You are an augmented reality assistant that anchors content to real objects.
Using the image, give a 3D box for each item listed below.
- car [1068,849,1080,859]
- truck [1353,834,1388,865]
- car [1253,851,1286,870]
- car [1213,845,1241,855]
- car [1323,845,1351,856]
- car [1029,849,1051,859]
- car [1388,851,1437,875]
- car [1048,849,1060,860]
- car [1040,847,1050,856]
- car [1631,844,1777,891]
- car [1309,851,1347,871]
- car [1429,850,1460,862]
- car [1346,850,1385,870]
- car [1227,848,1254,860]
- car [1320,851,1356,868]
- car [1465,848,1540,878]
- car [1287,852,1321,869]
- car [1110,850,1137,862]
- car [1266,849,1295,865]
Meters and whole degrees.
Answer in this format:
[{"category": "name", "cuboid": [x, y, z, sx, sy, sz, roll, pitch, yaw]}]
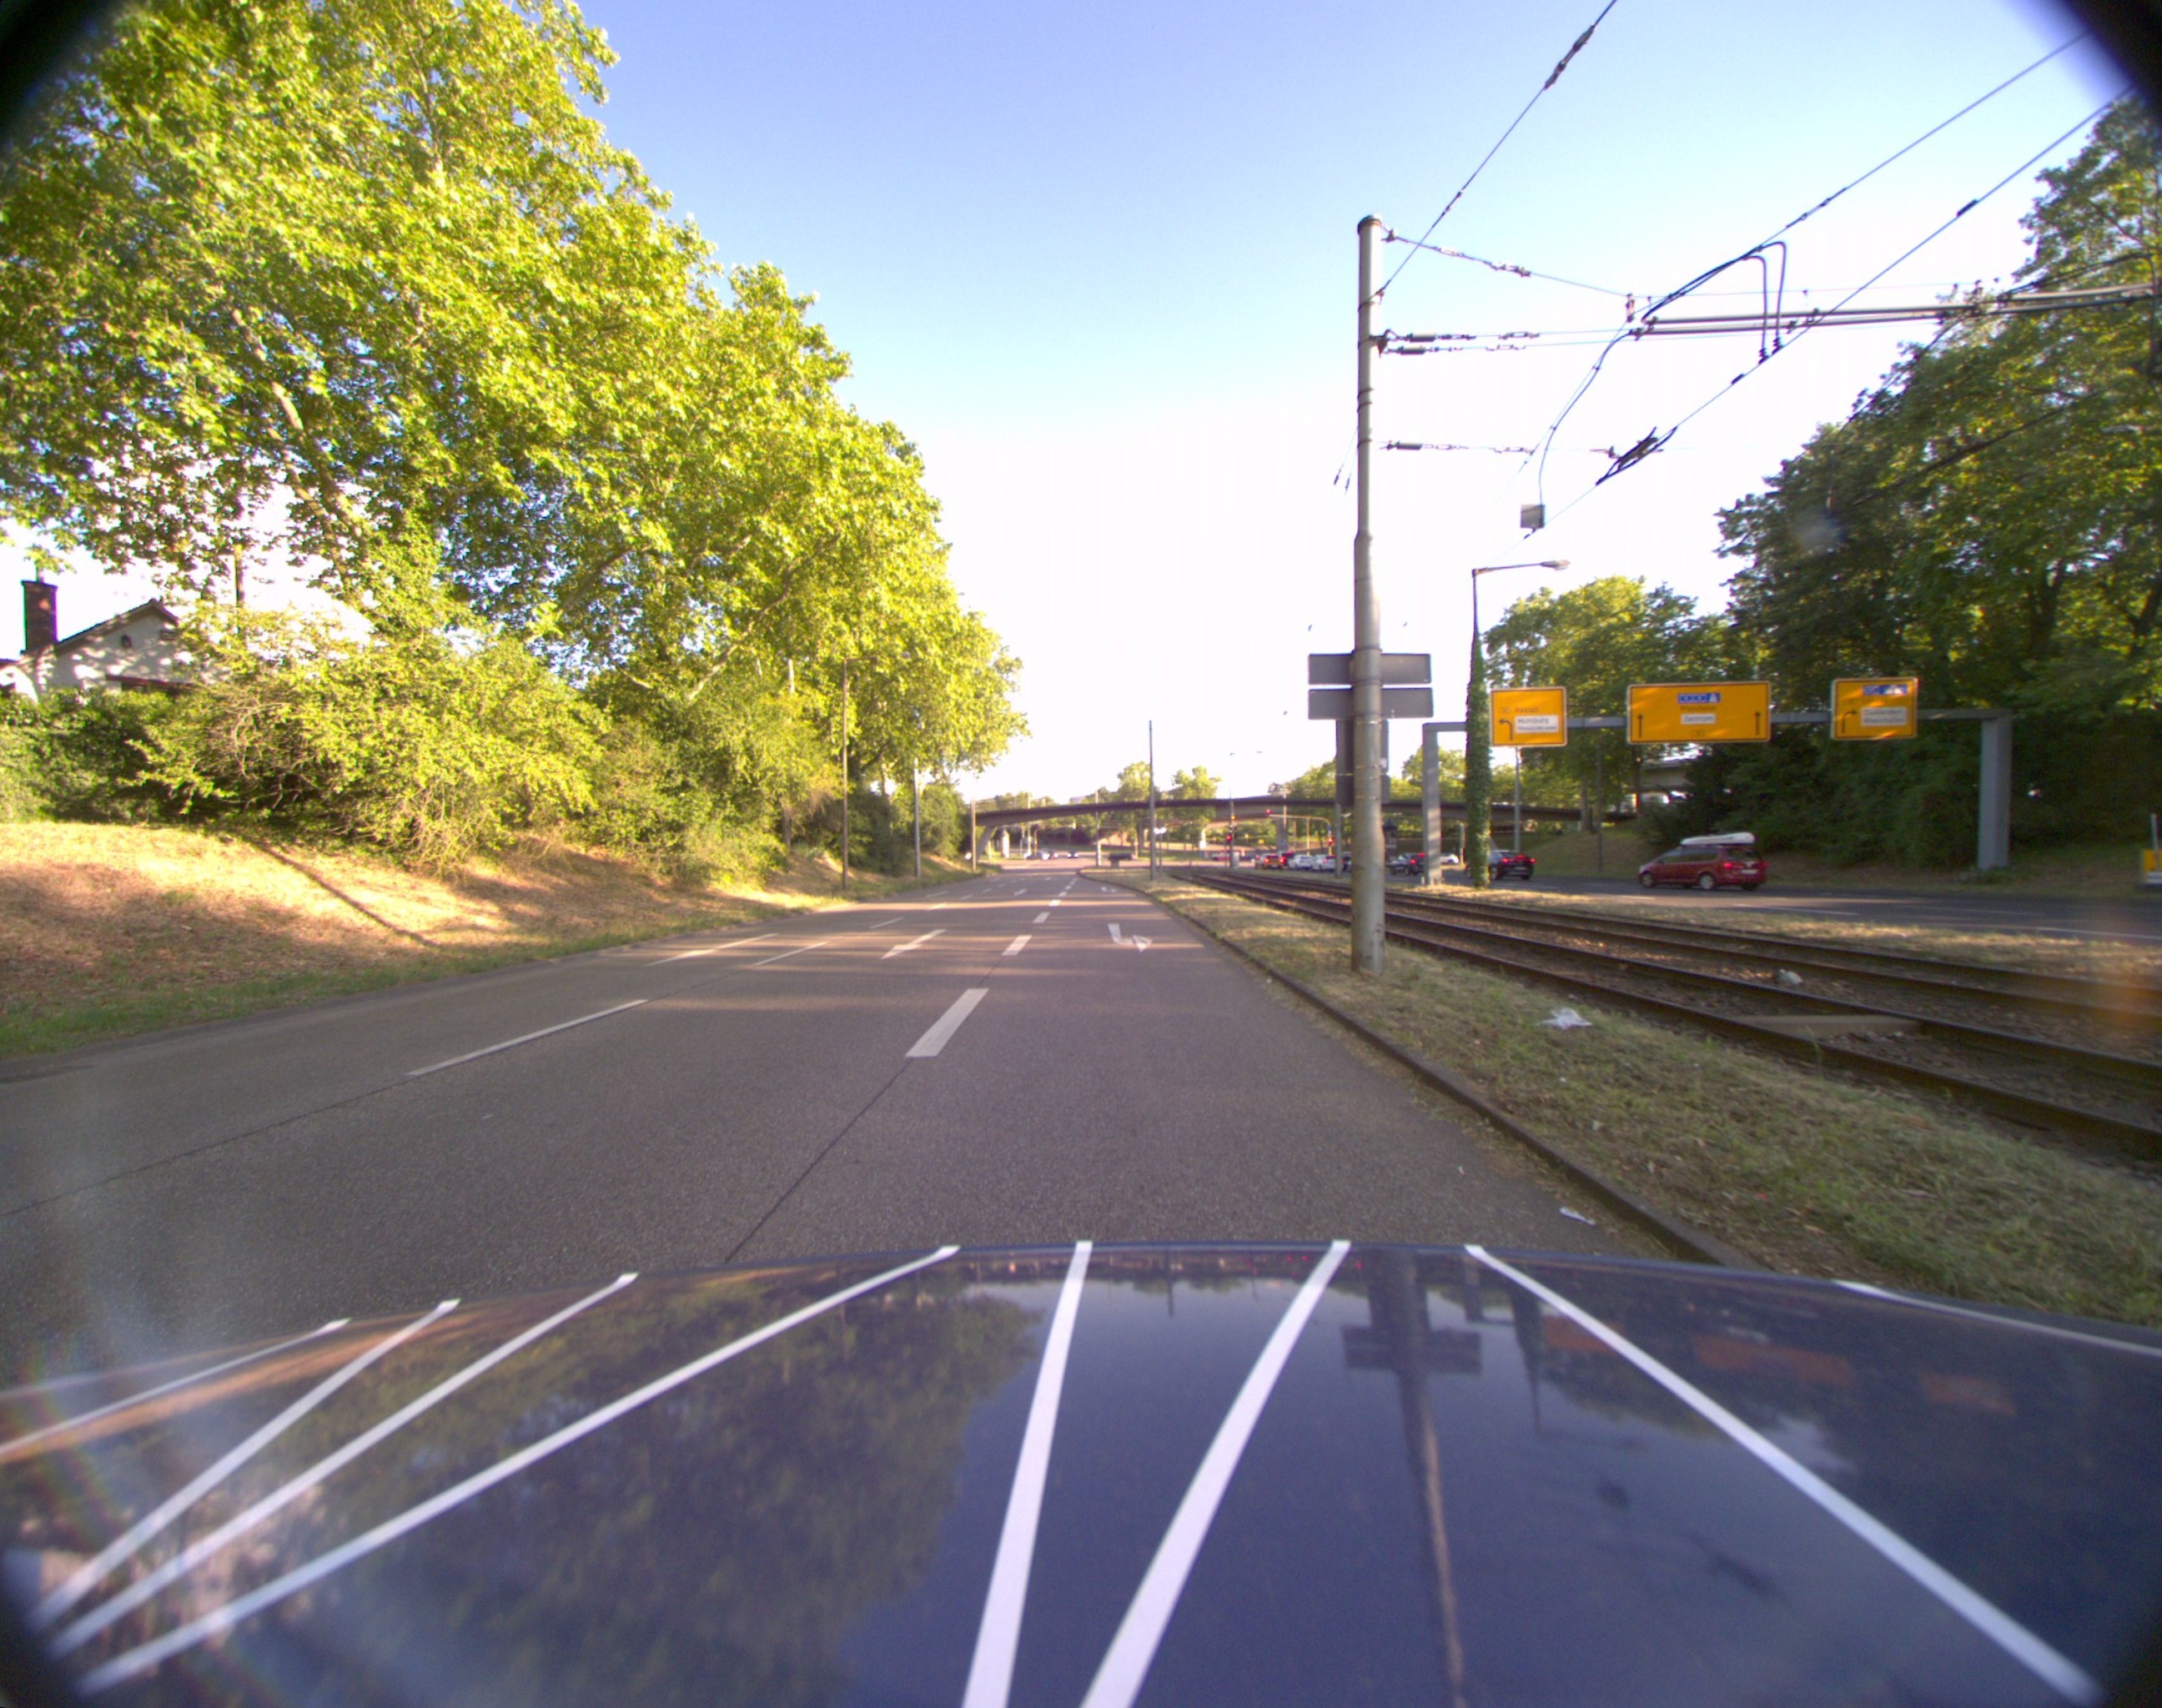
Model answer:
[{"category": "car", "cuboid": [-1.257, 0.014, 141.876, 1.905, 1.726, 3.998, -2, 0, -5]}, {"category": "truck", "cuboid": [28.383, -0.445, 74.796, 2.281, 2.862, 6.886, -1, 0, 13]}, {"category": "car", "cuboid": [16.148, 0.500, 65.233, 1.767, 1.535, 4.000, -1, 0, 0]}, {"category": "car", "cuboid": [22.742, -0.596, 118.336, 3.868, 1.403, 1.814, -2, 1, 20]}, {"category": "car", "cuboid": [37.650, -0.542, 111.792, 3.785, 1.491, 1.766, -2, 1, 18]}, {"category": "car", "cuboid": [-6.934, 0.001, 129.783, 3.364, 1.560, 1.613, -2, 0, 17]}, {"category": "car", "cuboid": [22.959, 0.598, 52.755, 1.755, 1.548, 3.973, 0, 0, 1]}, {"category": "car", "cuboid": [-4.901, 0.068, 139.200, 1.960, 1.779, 3.998, -2, 0, -5]}, {"category": "car", "cuboid": [-7.644, -0.501, 162.589, 1.684, 1.779, 3.867, -2, 0, -10]}, {"category": "car", "cuboid": [23.090, 0.459, 28.401, 1.842, 1.625, 4.310, 0, 0, -2]}, {"category": "car", "cuboid": [20.028, 0.536, 61.802, 1.767, 1.535, 4.000, -1, 0, 0]}, {"category": "car", "cuboid": [49.279, 0.265, 103.081, 3.804, 1.570, 1.679, -2, 1, 24]}, {"category": "car", "cuboid": [23.969, 0.484, 64.070, 1.813, 1.535, 4.000, -1, 0, 1]}, {"category": "car", "cuboid": [23.568, -0.009, 112.285, 3.787, 1.491, 1.765, -2, 1, 10]}, {"category": "car", "cuboid": [23.738, 0.485, 70.206, 1.868, 1.416, 4.226, -1, 0, 0]}, {"category": "car", "cuboid": [22.838, 0.444, 41.388, 1.735, 1.536, 4.334, -1, 0, 1]}, {"category": "car", "cuboid": [19.916, 0.537, 68.081, 1.918, 1.416, 4.227, -1, 0, 2]}, {"category": "car", "cuboid": [6.919, 0.322, 123.993, 3.868, 1.655, 1.814, -2, 1, 21]}, {"category": "car", "cuboid": [19.582, 0.257, 74.738, 1.917, 1.540, 4.227, -1, 0, 4]}]
